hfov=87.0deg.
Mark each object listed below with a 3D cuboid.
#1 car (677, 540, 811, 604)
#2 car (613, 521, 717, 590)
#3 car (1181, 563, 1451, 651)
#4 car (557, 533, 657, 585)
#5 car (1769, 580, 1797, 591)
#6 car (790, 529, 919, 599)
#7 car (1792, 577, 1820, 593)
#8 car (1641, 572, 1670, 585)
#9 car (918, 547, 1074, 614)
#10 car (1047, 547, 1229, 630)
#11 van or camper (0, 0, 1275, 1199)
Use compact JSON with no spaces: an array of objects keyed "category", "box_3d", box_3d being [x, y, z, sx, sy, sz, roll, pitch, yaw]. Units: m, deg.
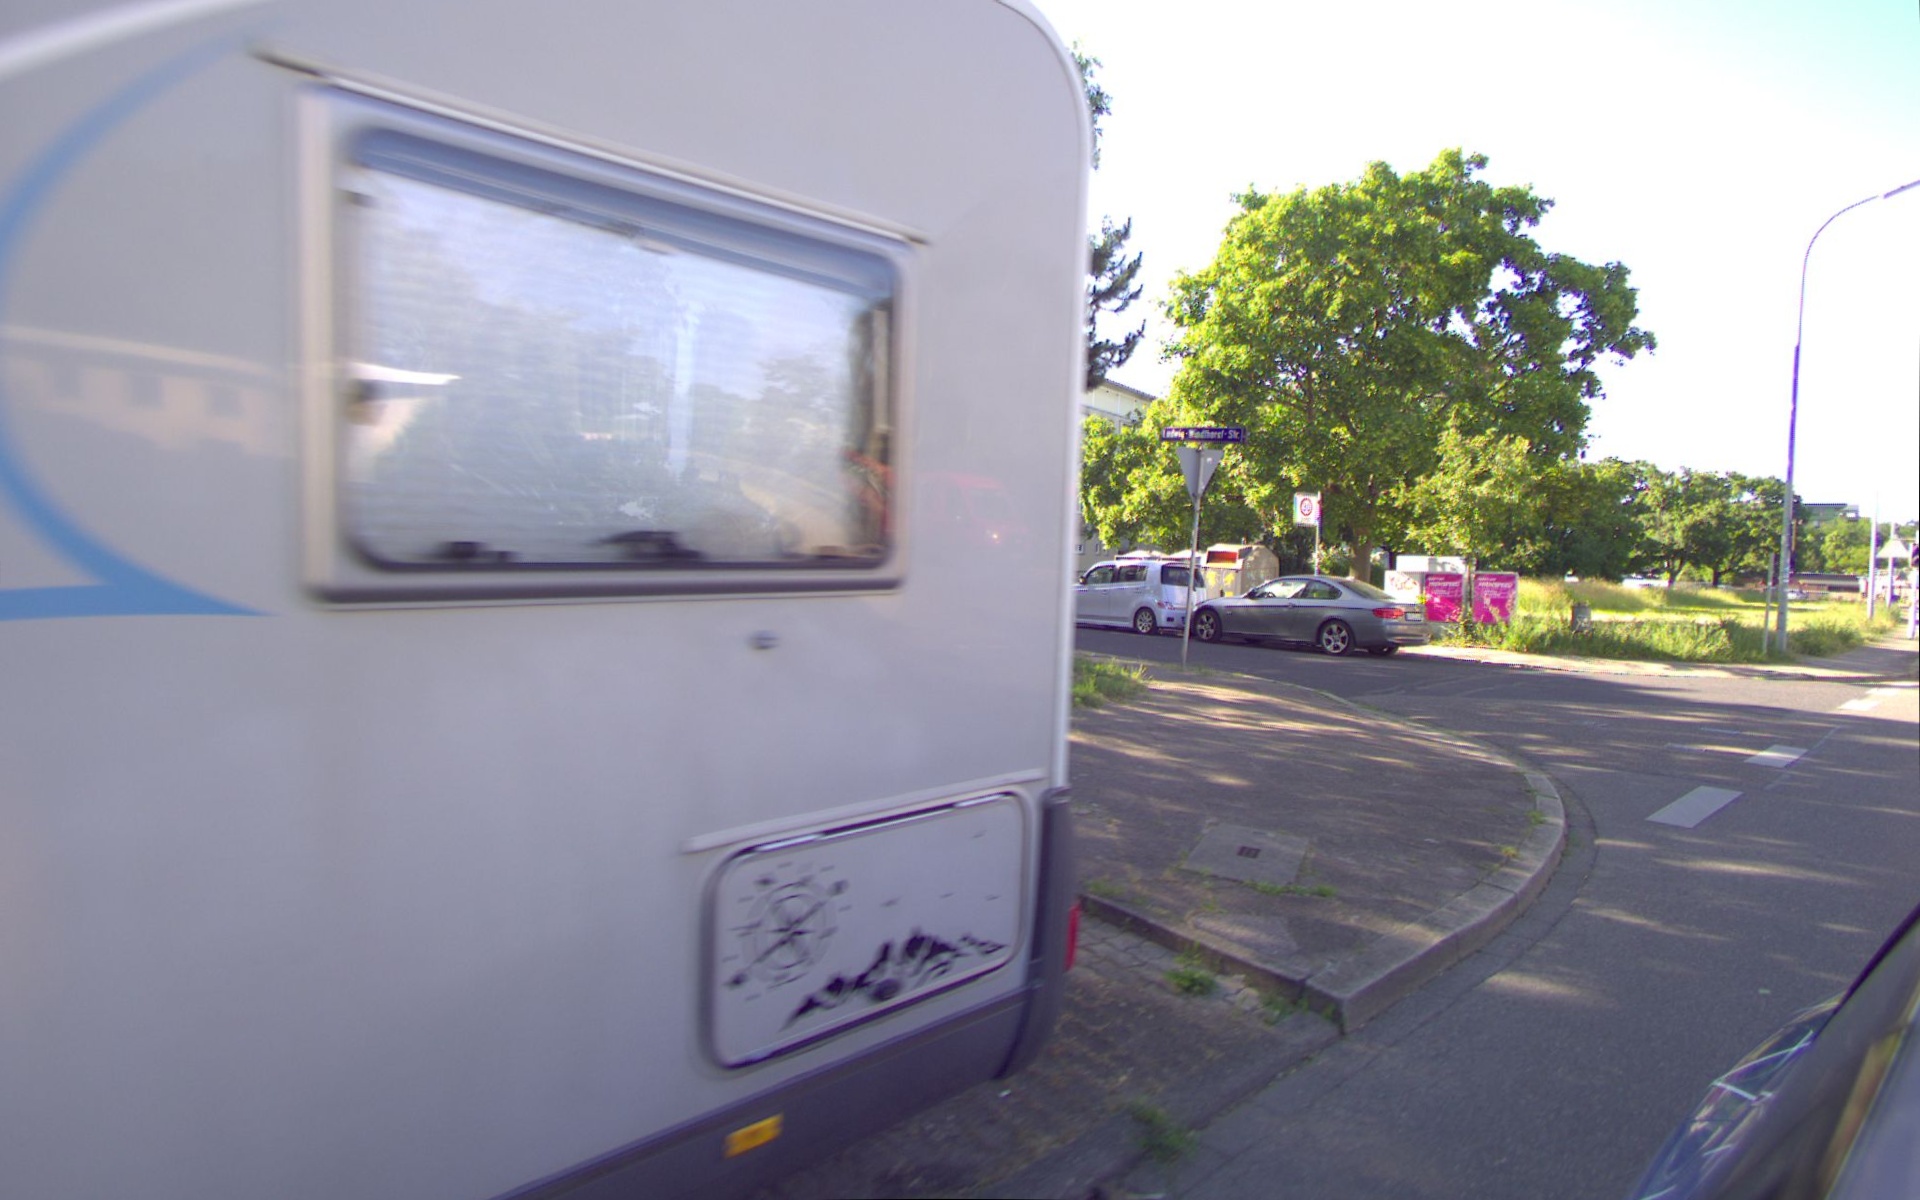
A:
[{"category":"car","box_3d":[-5.588,-0.752,25.888,1.755,1.414,3.876,2,2,-39]},{"category":"car","box_3d":[-8.821,-1.336,30.059,1.961,1.874,3.882,0,3,-32]},{"category":"car","box_3d":[6.388,0.073,18.635,1.714,1.354,4.438,2,1,-38]},{"category":"car","box_3d":[-12.109,-1.418,34.610,1.965,1.631,3.875,0,3,-40]},{"category":"car","box_3d":[107.309,-1.858,131.939,3.925,1.340,1.782,0,3,-37]},{"category":"car","box_3d":[-3.474,-1.197,32.523,2.230,2.036,4.522,0,3,-34]},{"category":"car","box_3d":[108.773,-1.923,130.043,3.928,1.882,1.956,0,3,-39]},{"category":"car","box_3d":[99.787,-3.067,145.201,3.923,1.794,1.959,-2,4,-33]},{"category":"car","box_3d":[0.865,-0.546,26.693,1.936,1.561,4.116,1,2,-36]},{"category":"car","box_3d":[3.815,-0.314,22.214,1.793,1.597,3.698,0,3,-35]},{"category":"van or camper","box_3d":[-2.484,-0.009,1.241,6.314,2.626,2.358,0,6,-41]}]
